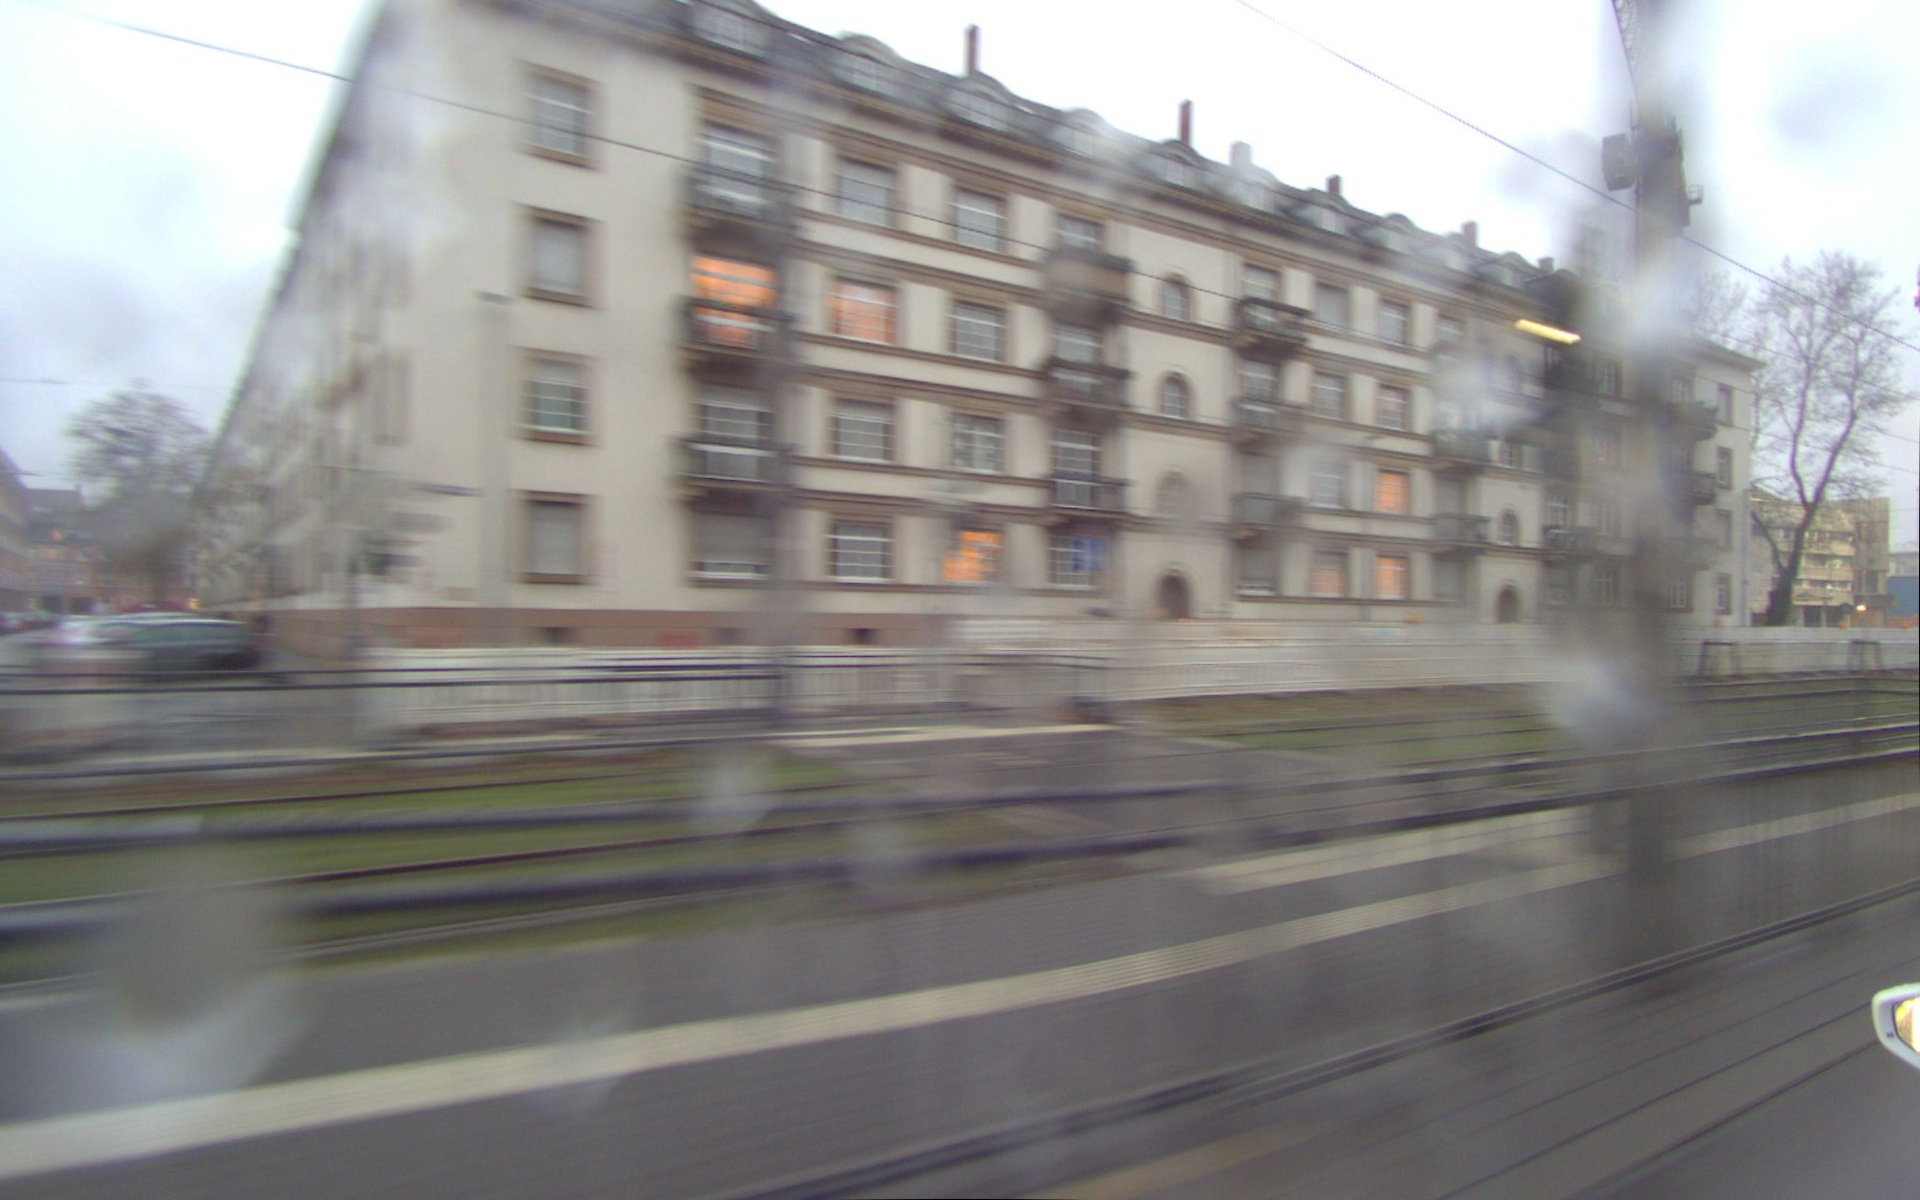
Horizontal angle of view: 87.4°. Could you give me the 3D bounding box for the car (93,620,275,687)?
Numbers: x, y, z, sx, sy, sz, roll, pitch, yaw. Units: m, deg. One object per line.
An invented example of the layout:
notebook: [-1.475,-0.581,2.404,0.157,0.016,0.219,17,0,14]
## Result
car: [-18.823,1.255,24.445,3.401,1.498,1.441,1,-2,-42]

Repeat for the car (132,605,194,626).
car: [-56.488,1.100,71.260,3.283,1.444,1.444,1,-1,-35]

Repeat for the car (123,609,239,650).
car: [-28.759,1.097,37.214,3.283,1.444,1.444,1,-1,-35]

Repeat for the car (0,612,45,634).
car: [-63.826,1.527,67.448,3.283,1.444,1.444,1,-1,-35]

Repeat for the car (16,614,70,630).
car: [-80.557,1.930,88.260,3.283,1.444,1.444,1,-1,-35]

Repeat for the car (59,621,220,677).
car: [-22.468,1.316,27.656,3.283,1.444,1.444,1,-1,-35]

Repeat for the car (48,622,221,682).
car: [-21.080,1.302,25.805,3.283,1.444,1.444,1,-1,-35]

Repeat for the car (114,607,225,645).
car: [-30.607,1.011,39.000,3.283,1.444,1.444,1,-1,-35]

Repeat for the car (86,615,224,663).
car: [-25.465,1.213,31.916,3.283,1.444,1.444,1,-1,-35]

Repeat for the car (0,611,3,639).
car: [-51.485,1.268,51.471,3.283,1.444,1.444,1,-1,-35]
